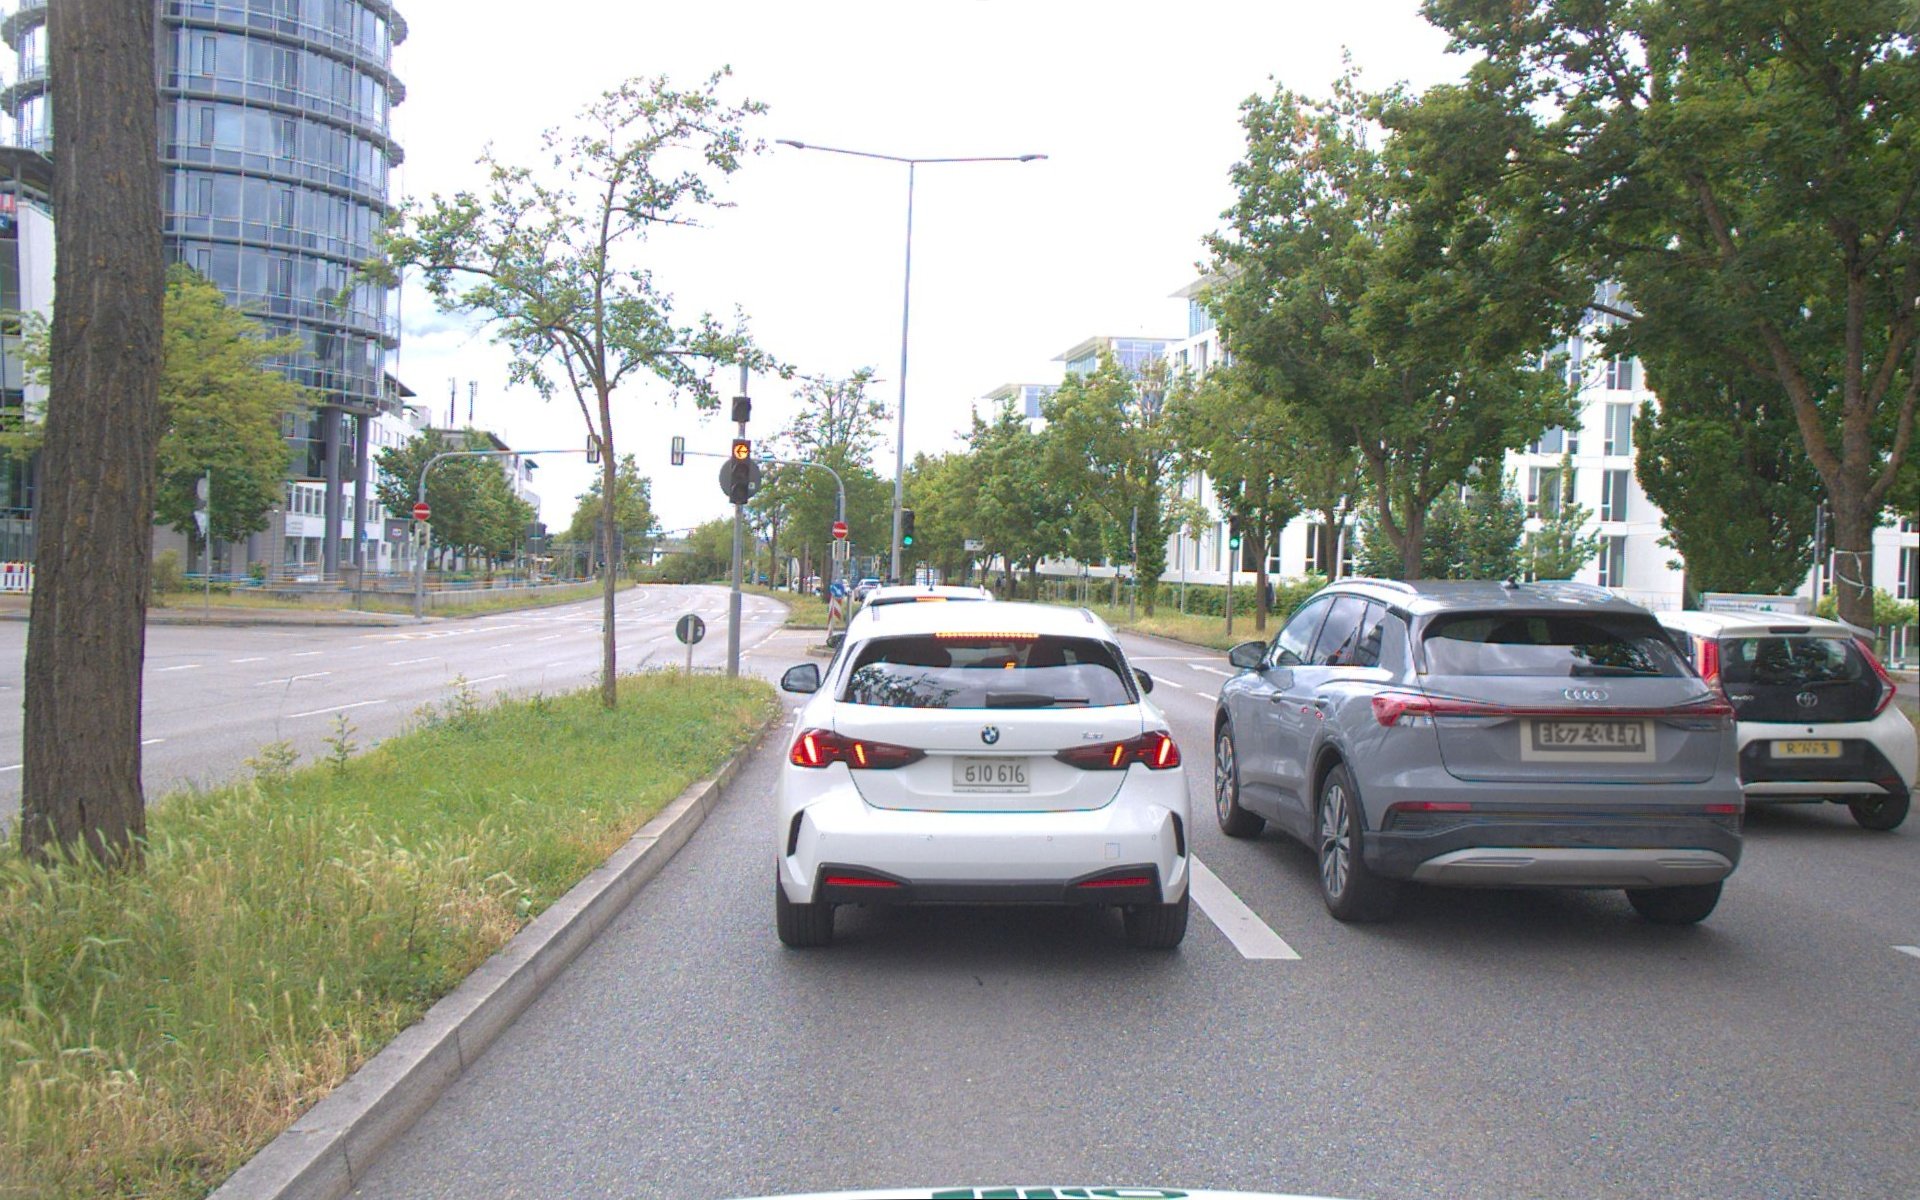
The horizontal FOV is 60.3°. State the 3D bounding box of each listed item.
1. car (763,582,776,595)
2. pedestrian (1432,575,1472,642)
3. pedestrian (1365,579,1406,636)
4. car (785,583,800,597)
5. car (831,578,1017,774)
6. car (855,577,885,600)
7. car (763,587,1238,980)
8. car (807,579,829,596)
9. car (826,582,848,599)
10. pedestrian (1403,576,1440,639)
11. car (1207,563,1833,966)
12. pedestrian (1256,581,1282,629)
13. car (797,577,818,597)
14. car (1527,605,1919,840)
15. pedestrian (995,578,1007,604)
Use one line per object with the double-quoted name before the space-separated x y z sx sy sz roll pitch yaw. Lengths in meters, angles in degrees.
"car" -25.741 -1.572 223.980 1.570 1.695 3.997 1 0 -4
"pedestrian" 12.925 0.219 43.486 0.751 1.715 0.883 1 -1 -2
"pedestrian" 11.250 0.192 43.740 0.773 1.473 1.111 1 0 -2
"car" -20.205 -1.210 199.597 1.705 1.695 3.997 1 0 -4
"car" -0.325 0.627 15.842 1.518 1.596 3.999 1 0 -1
"car" -6.717 -0.829 123.417 1.955 1.699 3.994 0 0 -7
"car" 0.128 0.694 8.330 1.785 1.463 3.999 1 0 -1
"car" -15.279 -1.379 177.764 1.957 1.763 3.991 1 0 -10
"car" -11.409 -0.906 153.203 1.661 1.512 3.686 1 0 -9
"pedestrian" 12.143 0.206 43.528 0.685 1.623 0.883 1 0 -2
"car" 2.642 0.672 8.993 1.853 1.623 4.313 1 0 -1
"pedestrian" 10.480 0.172 56.128 0.726 1.601 0.674 1 -1 -2
"car" -13.760 -1.171 149.119 1.663 1.747 3.994 1 0 -7
"car" 5.642 0.782 12.248 1.620 1.450 3.534 0 0 -1
"pedestrian" 3.298 -0.728 133.652 0.749 2.049 0.751 1 0 -16
